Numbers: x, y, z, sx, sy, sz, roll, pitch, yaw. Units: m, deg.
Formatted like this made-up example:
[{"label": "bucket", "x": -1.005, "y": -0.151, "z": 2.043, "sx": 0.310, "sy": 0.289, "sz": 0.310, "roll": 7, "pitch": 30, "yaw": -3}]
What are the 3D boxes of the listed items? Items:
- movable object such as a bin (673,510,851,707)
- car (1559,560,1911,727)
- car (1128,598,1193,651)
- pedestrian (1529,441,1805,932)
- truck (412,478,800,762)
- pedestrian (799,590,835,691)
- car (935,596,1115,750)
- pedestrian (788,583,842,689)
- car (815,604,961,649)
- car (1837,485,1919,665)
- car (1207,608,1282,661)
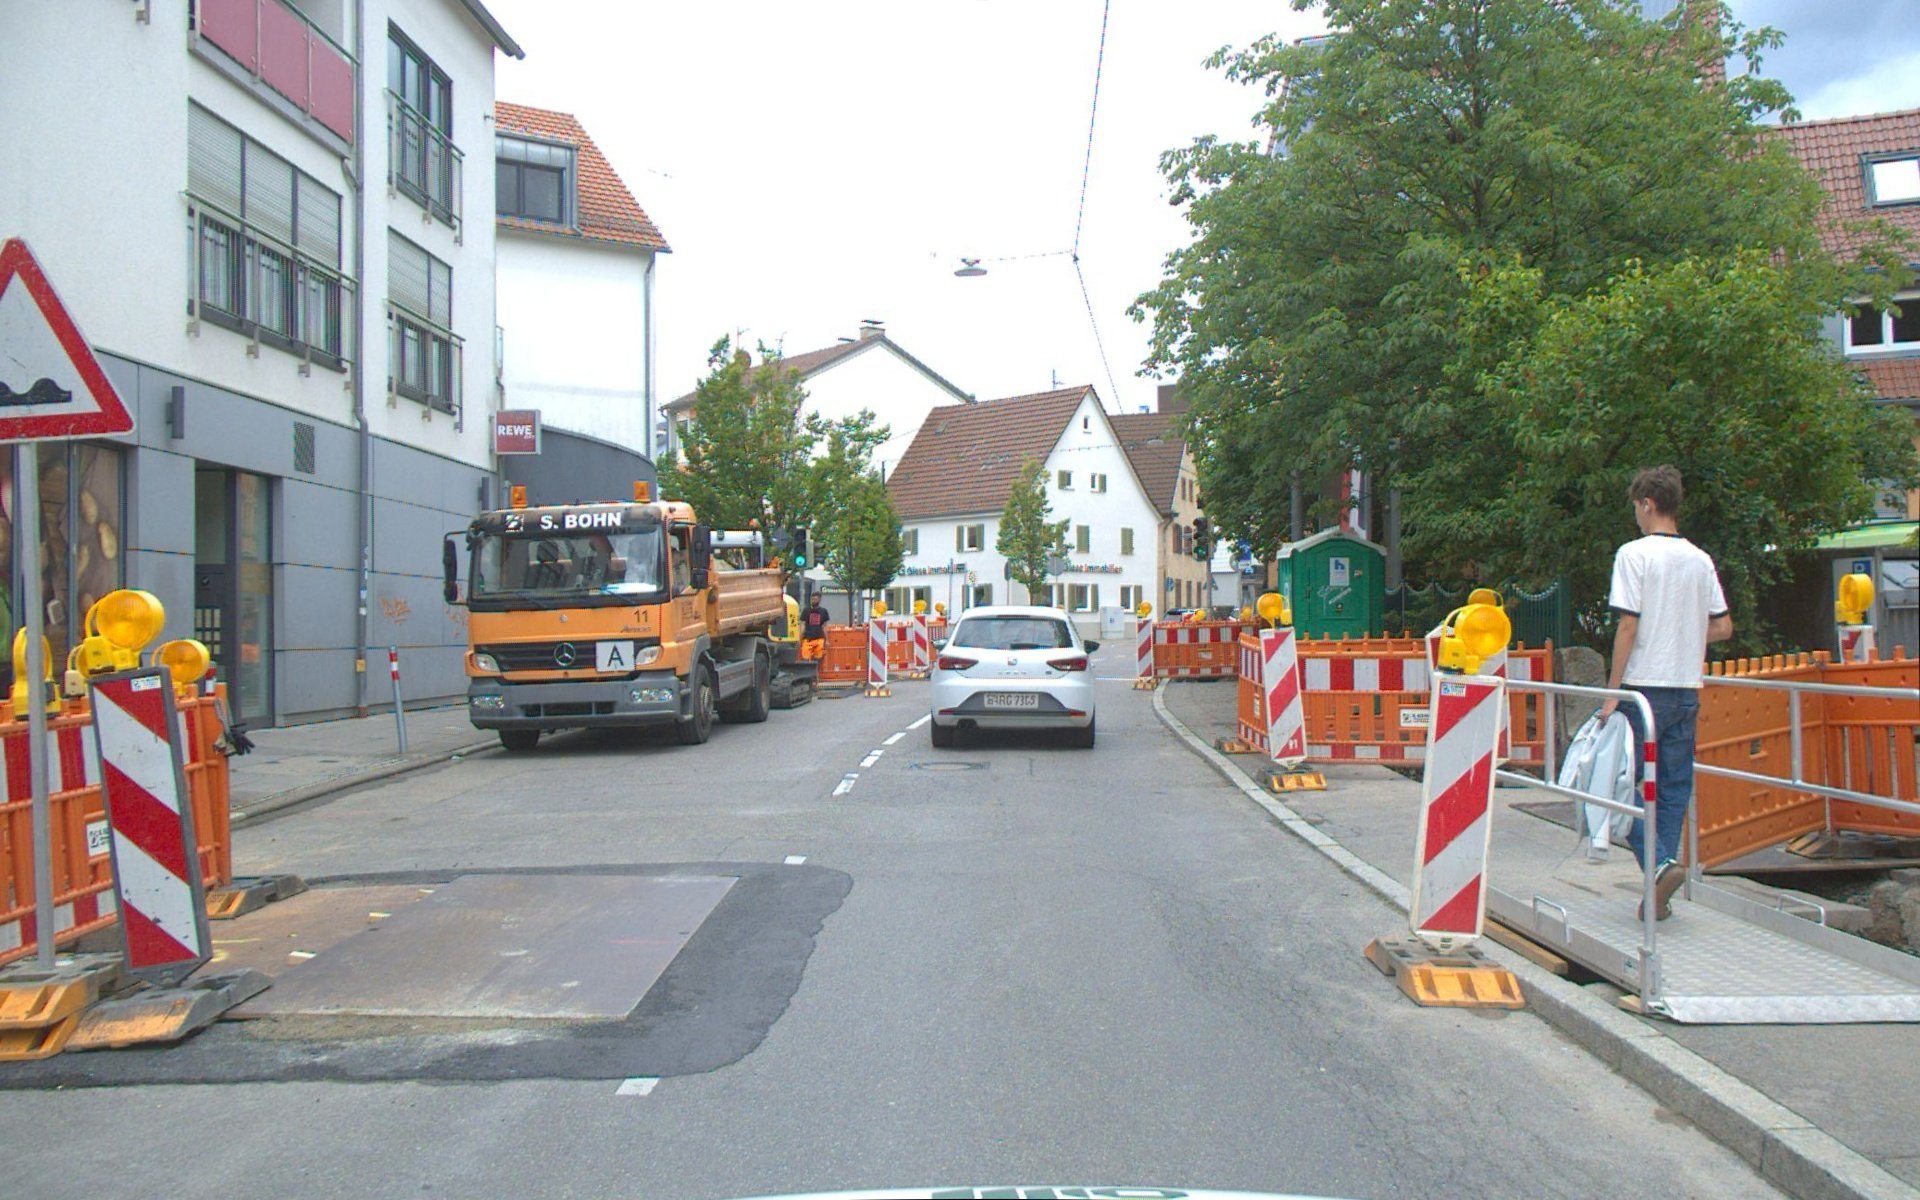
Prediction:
[{"label": "movable object such as a bin", "x": -3.019, "y": 0.178, "z": 26.161, "sx": 1.800, "sy": 2.812, "sz": 4.508, "roll": -1, "pitch": -1, "yaw": 6}, {"label": "car", "x": 10.488, "y": 0.568, "z": 22.436, "sx": 4.136, "sy": 2.069, "sz": 1.996, "roll": -1, "pitch": -1, "yaw": 31}, {"label": "car", "x": 6.154, "y": 0.717, "z": 50.422, "sx": 1.773, "sy": 1.506, "sz": 3.874, "roll": -1, "pitch": 0, "yaw": 9}, {"label": "pedestrian", "x": 3.030, "y": 0.349, "z": 7.167, "sx": 0.782, "sy": 1.984, "sz": 0.836, "roll": -2, "pitch": 0, "yaw": -2}, {"label": "truck", "x": -3.853, "y": 0.190, "z": 19.819, "sx": 2.674, "sy": 2.772, "sz": 6.851, "roll": -1, "pitch": 0, "yaw": 4}, {"label": "pedestrian", "x": -2.529, "y": 0.718, "z": 29.335, "sx": 0.526, "sy": 1.774, "sz": 0.444, "roll": -1, "pitch": -1, "yaw": 8}, {"label": "car", "x": 0.669, "y": 0.714, "z": 18.299, "sx": 1.774, "sy": 1.506, "sz": 3.871, "roll": 0, "pitch": 0, "yaw": 1}, {"label": "pedestrian", "x": -2.573, "y": 0.636, "z": 29.441, "sx": 0.797, "sy": 1.847, "sz": 0.744, "roll": -1, "pitch": -1, "yaw": 7}, {"label": "car", "x": -2.473, "y": 0.903, "z": 57.694, "sx": 4.799, "sy": 1.502, "sz": 2.251, "roll": 0, "pitch": 0, "yaw": 6}, {"label": "car", "x": 10.385, "y": -0.229, "z": 15.057, "sx": 3.908, "sy": 1.590, "sz": 1.746, "roll": 0, "pitch": 0, "yaw": -3}, {"label": "car", "x": 11.486, "y": 1.379, "z": 66.521, "sx": 1.954, "sy": 2.049, "sz": 3.997, "roll": -1, "pitch": -1, "yaw": 25}]
